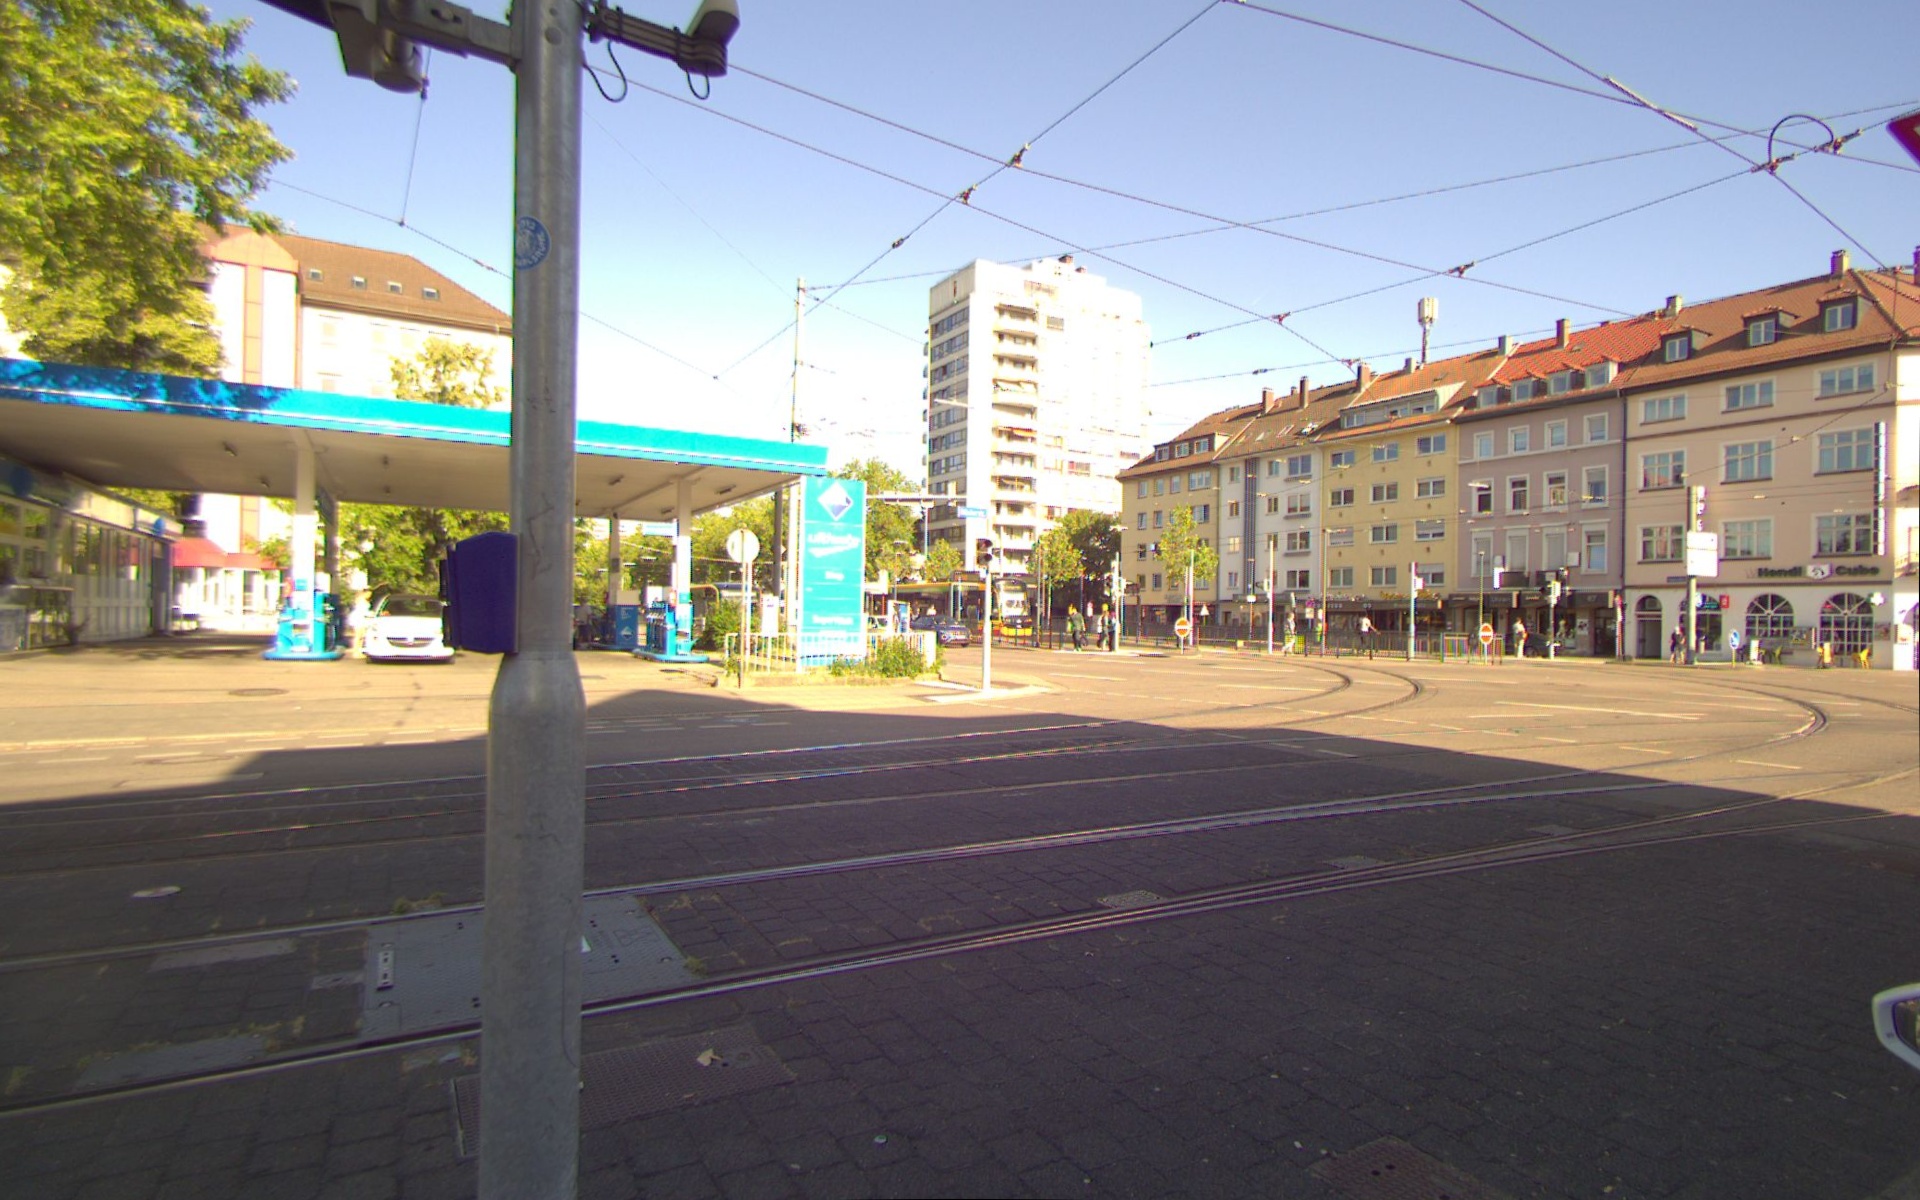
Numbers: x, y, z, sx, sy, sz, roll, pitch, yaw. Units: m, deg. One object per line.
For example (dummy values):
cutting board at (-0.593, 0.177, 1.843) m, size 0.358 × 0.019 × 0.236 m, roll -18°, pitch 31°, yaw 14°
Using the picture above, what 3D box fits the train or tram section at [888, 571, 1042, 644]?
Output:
train or tram section at (-0.055, 0.458, 59.073) m, size 2.907 × 3.864 × 12.949 m, roll 1°, pitch -1°, yaw -30°

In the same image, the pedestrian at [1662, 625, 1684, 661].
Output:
pedestrian at (34.031, 2.034, 47.928) m, size 0.743 × 1.692 × 0.579 m, roll 2°, pitch 0°, yaw -30°

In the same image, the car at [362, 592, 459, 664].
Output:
car at (-12.200, 0.604, 22.351) m, size 1.737 × 1.461 × 3.543 m, roll 1°, pitch -1°, yaw -29°

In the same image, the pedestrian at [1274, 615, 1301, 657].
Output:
pedestrian at (12.653, 1.379, 38.841) m, size 0.817 × 1.598 × 0.552 m, roll 2°, pitch 0°, yaw -2°

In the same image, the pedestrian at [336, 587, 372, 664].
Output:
pedestrian at (-13.917, 0.584, 23.086) m, size 0.640 × 1.724 × 0.497 m, roll 1°, pitch -1°, yaw -26°

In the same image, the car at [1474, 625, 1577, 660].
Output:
car at (30.823, 2.292, 54.845) m, size 2.277 × 1.734 × 4.350 m, roll 2°, pitch 0°, yaw -27°

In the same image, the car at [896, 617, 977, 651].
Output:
car at (-1.163, 1.617, 48.368) m, size 1.875 × 1.550 × 3.955 m, roll 1°, pitch -2°, yaw -39°

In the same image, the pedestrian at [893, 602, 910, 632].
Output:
pedestrian at (-3.436, 0.996, 58.763) m, size 0.747 × 1.756 × 0.797 m, roll 0°, pitch 0°, yaw -28°

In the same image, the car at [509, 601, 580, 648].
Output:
car at (-13.551, 0.784, 32.678) m, size 1.737 × 1.461 × 3.543 m, roll 1°, pitch -1°, yaw -29°

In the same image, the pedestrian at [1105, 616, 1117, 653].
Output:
pedestrian at (6.151, 1.406, 40.966) m, size 0.472 × 1.525 × 0.462 m, roll 0°, pitch 0°, yaw 6°

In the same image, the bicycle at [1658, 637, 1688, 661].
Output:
bicycle at (34.005, 2.328, 47.917) m, size 1.479 × 1.091 × 0.570 m, roll 2°, pitch 0°, yaw -30°

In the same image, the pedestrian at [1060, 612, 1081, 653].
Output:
pedestrian at (4.649, 1.353, 42.168) m, size 0.551 × 1.702 × 0.757 m, roll 0°, pitch -1°, yaw 39°

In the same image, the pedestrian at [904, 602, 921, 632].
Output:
pedestrian at (-2.801, 1.016, 58.987) m, size 0.747 × 1.756 × 0.797 m, roll 0°, pitch 0°, yaw -28°

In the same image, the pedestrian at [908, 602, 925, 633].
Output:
pedestrian at (-2.486, 1.018, 57.594) m, size 0.747 × 1.756 × 0.797 m, roll 0°, pitch 0°, yaw -28°

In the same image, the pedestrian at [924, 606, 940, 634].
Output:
pedestrian at (-1.614, 1.145, 57.695) m, size 0.607 × 1.598 × 0.827 m, roll 0°, pitch 0°, yaw -27°

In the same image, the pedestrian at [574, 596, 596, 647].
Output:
pedestrian at (-12.838, 0.734, 34.408) m, size 0.491 × 1.724 × 0.499 m, roll 0°, pitch -1°, yaw 33°

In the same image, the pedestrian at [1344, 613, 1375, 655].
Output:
pedestrian at (15.526, 1.318, 39.008) m, size 0.821 × 1.598 × 0.724 m, roll 2°, pitch 0°, yaw -20°

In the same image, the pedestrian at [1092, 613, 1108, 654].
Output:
pedestrian at (5.854, 1.393, 41.966) m, size 0.626 × 1.666 × 0.462 m, roll 0°, pitch 0°, yaw 6°

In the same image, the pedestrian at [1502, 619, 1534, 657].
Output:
pedestrian at (24.449, 1.670, 44.010) m, size 0.821 × 1.598 × 0.847 m, roll 2°, pitch 0°, yaw -20°

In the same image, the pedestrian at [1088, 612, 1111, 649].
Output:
pedestrian at (6.118, 1.328, 43.995) m, size 0.867 × 1.598 × 0.665 m, roll 2°, pitch 0°, yaw -2°

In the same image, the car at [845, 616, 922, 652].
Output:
car at (-3.589, 1.553, 46.738) m, size 1.871 × 1.550 × 3.963 m, roll 1°, pitch -1°, yaw -33°

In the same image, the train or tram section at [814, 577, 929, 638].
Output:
train or tram section at (-6.450, 0.540, 70.215) m, size 2.907 × 3.864 × 12.719 m, roll 1°, pitch -1°, yaw -30°

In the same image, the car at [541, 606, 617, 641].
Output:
car at (-16.863, 1.042, 44.603) m, size 1.722 × 1.461 × 3.572 m, roll 1°, pitch -1°, yaw 5°
